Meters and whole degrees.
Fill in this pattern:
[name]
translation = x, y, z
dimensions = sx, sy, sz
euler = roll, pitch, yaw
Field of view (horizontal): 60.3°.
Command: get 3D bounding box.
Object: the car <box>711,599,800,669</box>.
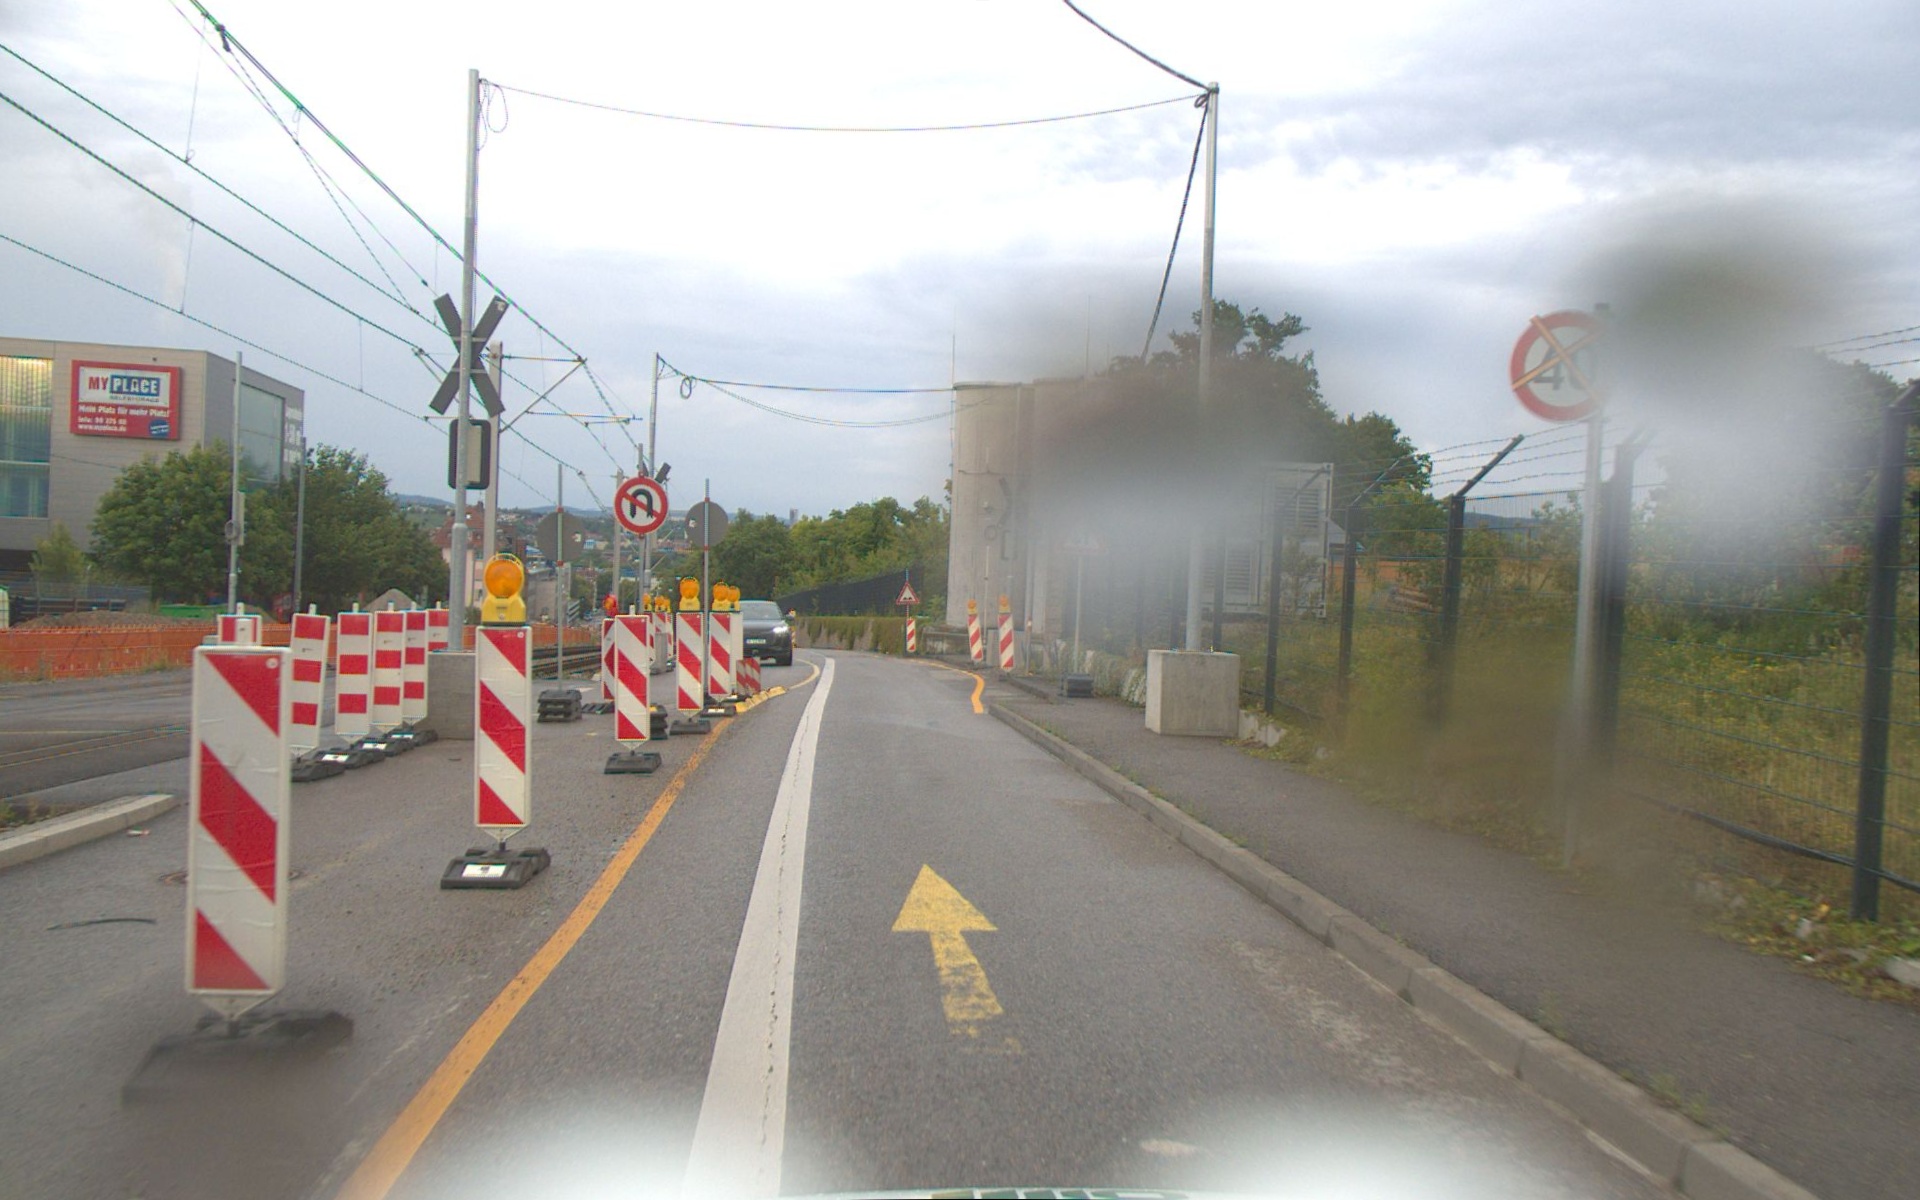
[car]
translation = -5.438, 0.878, 43.597
dimensions = 1.958, 1.707, 4.475
euler = 1, -1, -11

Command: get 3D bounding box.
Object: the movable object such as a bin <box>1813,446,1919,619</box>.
[movable object such as a bin]
translation = 37.579, -2.327, 60.246
dimensions = 10.993, 6.100, 3.493
euler = 1, -1, 6
